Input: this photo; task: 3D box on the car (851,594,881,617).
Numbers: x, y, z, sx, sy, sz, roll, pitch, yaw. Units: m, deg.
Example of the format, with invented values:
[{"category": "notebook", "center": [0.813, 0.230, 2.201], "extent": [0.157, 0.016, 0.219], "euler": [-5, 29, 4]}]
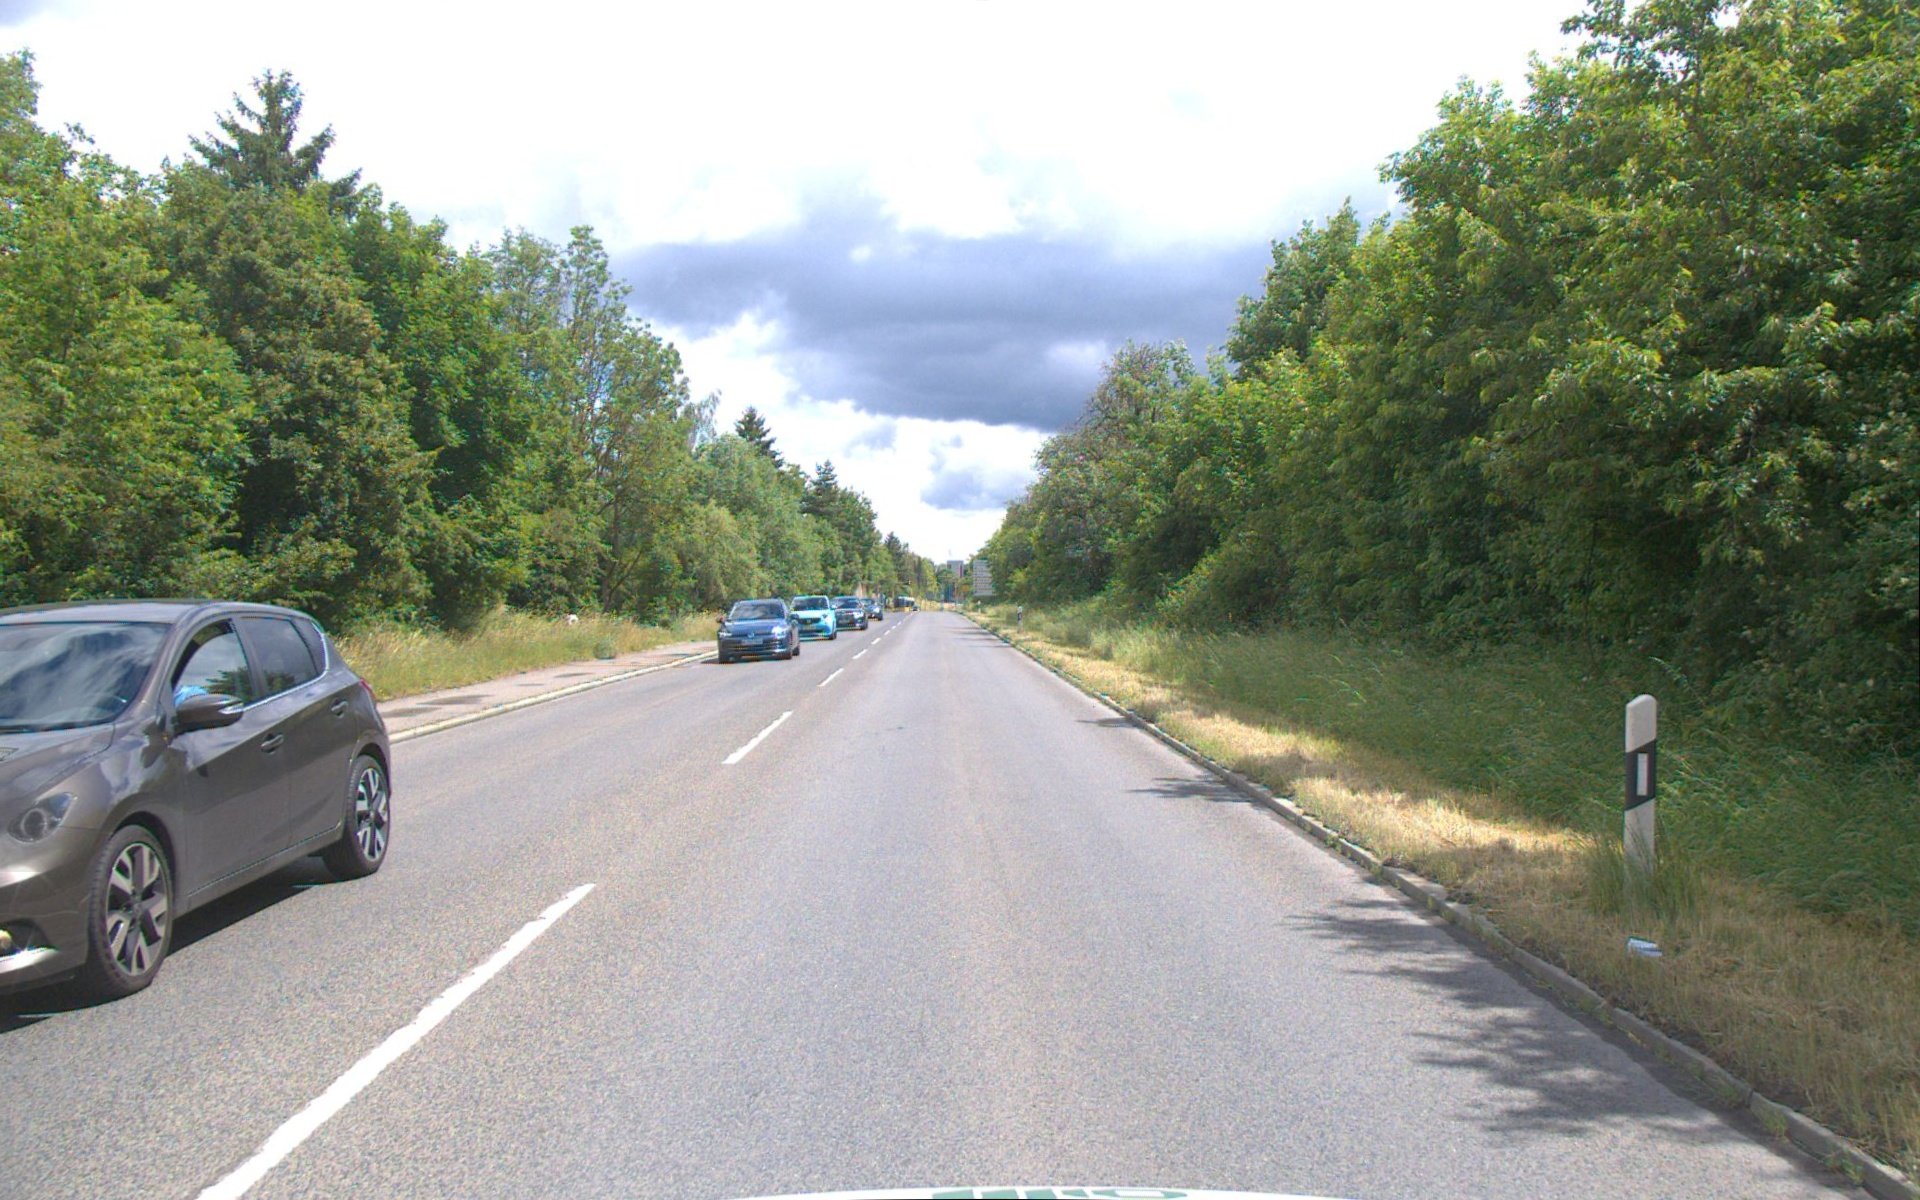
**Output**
[{"category": "car", "center": [-5.912, 0.325, 104.090], "extent": [1.748, 1.357, 4.621], "euler": [-3, 0, -2]}]

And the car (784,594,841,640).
[{"category": "car", "center": [-5.094, 0.556, 57.427], "extent": [1.748, 1.472, 2.965], "euler": [-3, 0, -2]}]

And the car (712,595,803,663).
[{"category": "car", "center": [-4.892, 0.662, 40.461], "extent": [1.748, 1.472, 4.451], "euler": [-3, 0, -2]}]

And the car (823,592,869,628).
[{"category": "car", "center": [-5.111, 0.423, 74.649], "extent": [1.846, 1.518, 4.715], "euler": [-3, 0, -2]}]

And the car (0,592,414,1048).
[{"category": "car", "center": [-3.942, 0.759, 7.432], "extent": [1.682, 1.496, 3.999], "euler": [-3, 0, -2]}]
